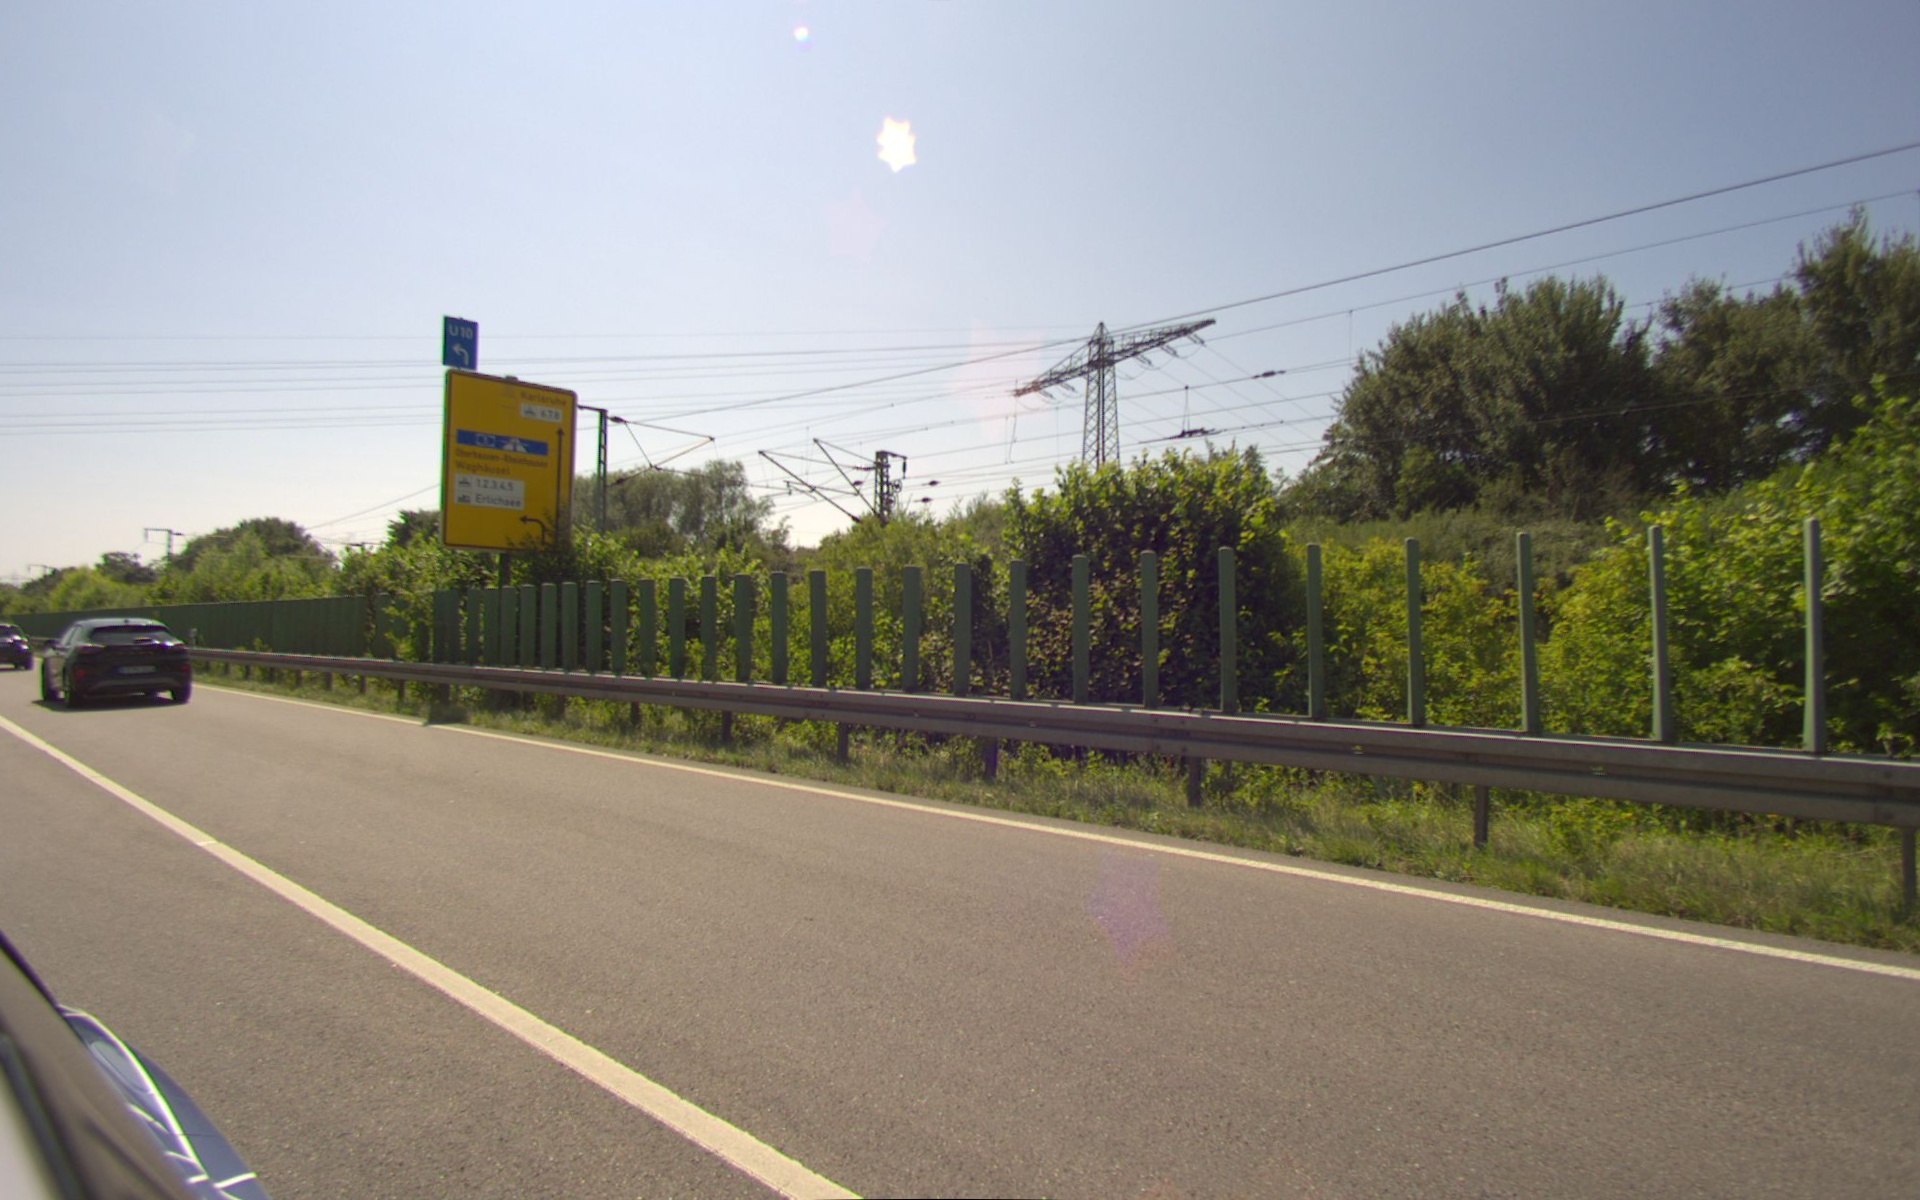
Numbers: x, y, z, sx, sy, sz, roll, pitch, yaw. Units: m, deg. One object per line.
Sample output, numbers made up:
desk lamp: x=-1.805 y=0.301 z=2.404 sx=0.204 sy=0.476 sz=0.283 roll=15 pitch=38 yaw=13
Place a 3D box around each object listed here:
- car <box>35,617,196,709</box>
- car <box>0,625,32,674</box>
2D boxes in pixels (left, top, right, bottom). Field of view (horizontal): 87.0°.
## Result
car: x=-15.856 y=1.099 z=18.928 sx=4.287 sy=1.526 sz=1.655 roll=-1 pitch=-1 yaw=41
car: x=-30.076 y=1.530 z=31.377 sx=3.740 sy=1.446 sz=1.491 roll=-1 pitch=-1 yaw=41
